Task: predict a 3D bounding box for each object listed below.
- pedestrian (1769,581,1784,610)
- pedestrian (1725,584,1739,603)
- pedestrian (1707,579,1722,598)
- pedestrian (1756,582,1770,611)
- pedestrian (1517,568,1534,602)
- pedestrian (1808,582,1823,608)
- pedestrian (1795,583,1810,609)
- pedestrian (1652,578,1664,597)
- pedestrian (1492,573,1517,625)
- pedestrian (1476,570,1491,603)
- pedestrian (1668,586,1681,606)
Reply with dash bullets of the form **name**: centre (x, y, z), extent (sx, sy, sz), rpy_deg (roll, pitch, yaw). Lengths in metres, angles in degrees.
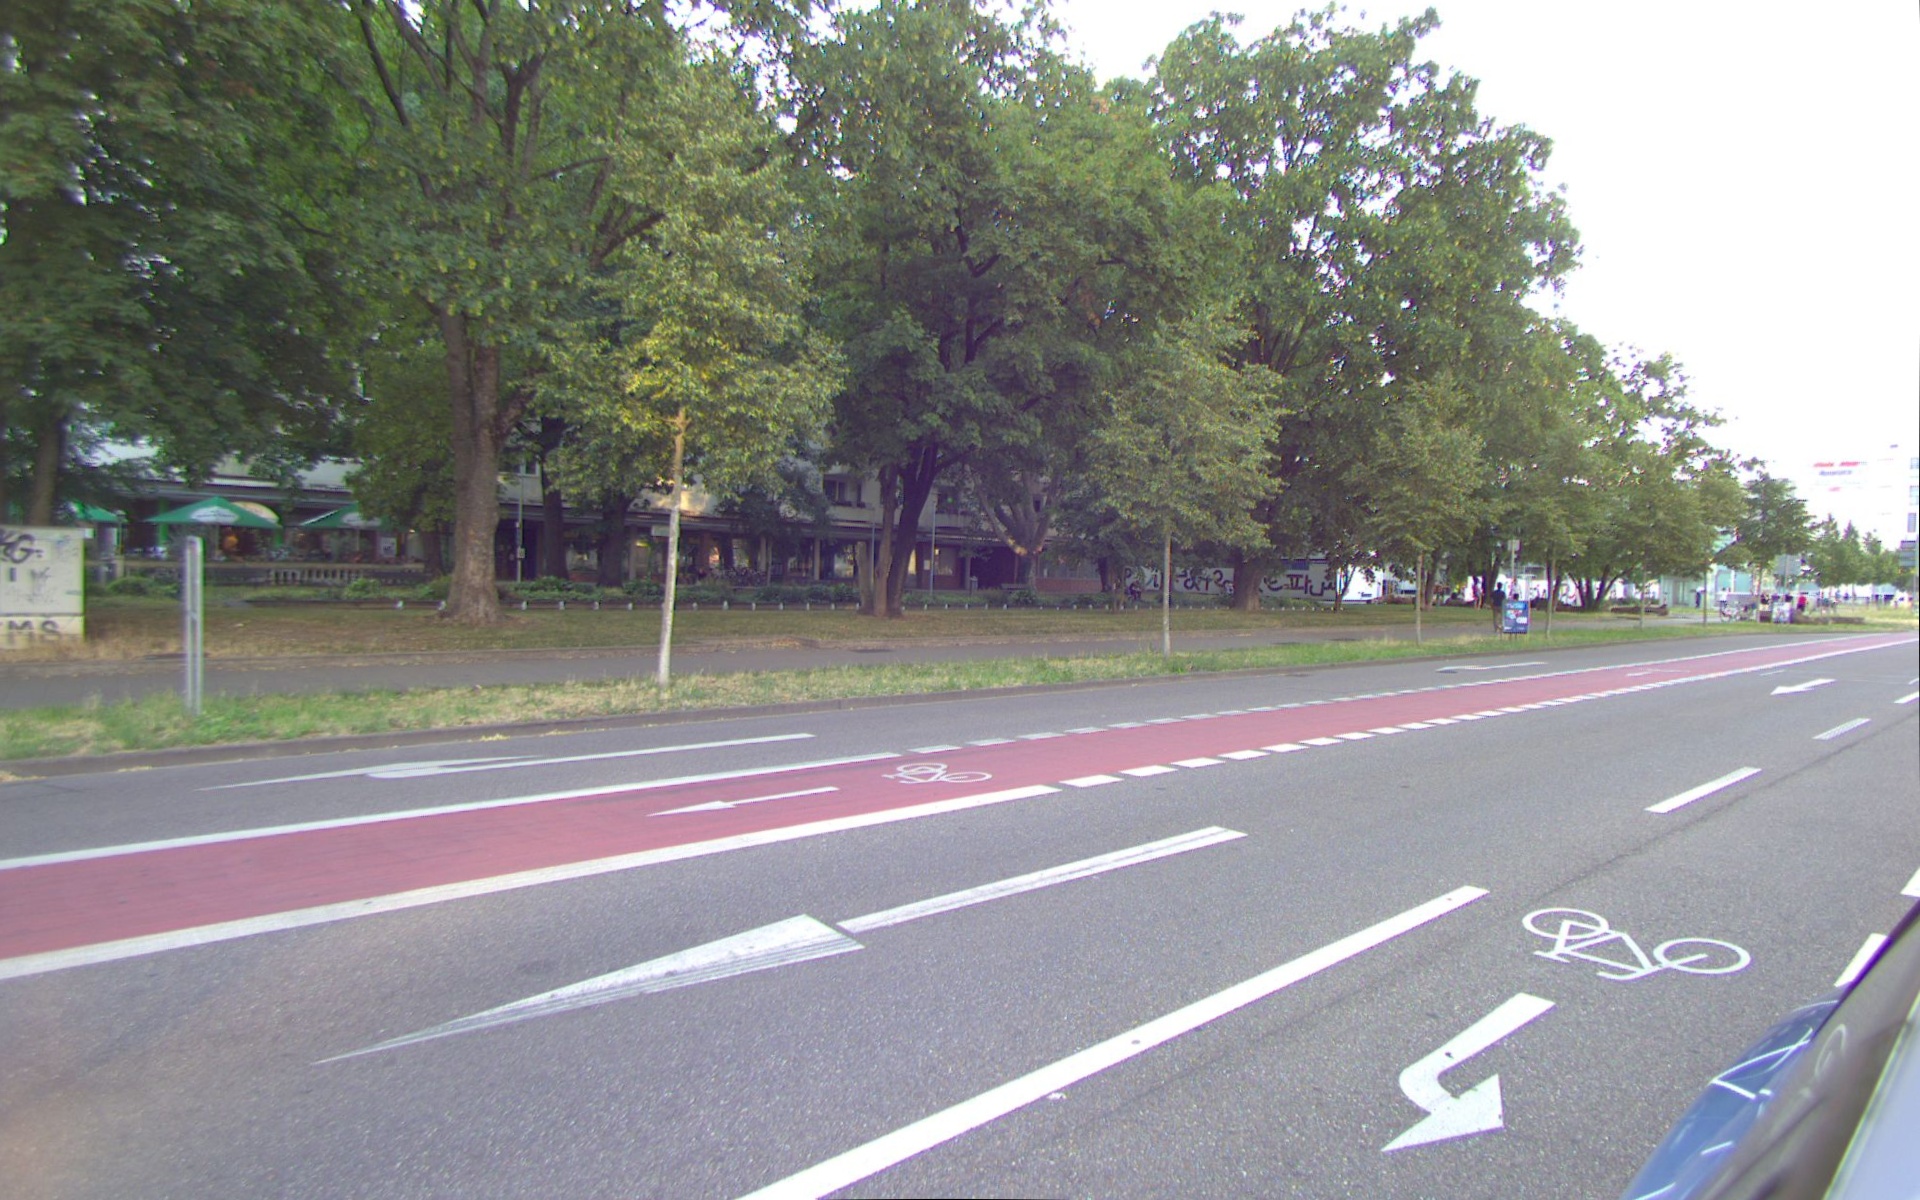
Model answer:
- **pedestrian**: centre (49.393, -0.268, 61.223), extent (0.707, 1.751, 0.508), rpy_deg (0, 2, -40)
- **pedestrian**: centre (55.211, -0.477, 72.366), extent (0.550, 1.371, 0.662), rpy_deg (0, 2, -40)
- **pedestrian**: centre (54.854, -0.822, 73.591), extent (0.604, 1.371, 0.728), rpy_deg (0, 2, -40)
- **pedestrian**: centre (50.742, -0.226, 63.946), extent (0.707, 1.751, 0.519), rpy_deg (0, 2, -40)
- **pedestrian**: centre (27.491, -0.723, 49.189), extent (0.513, 1.621, 0.500), rpy_deg (0, 2, -41)
- **pedestrian**: centre (59.148, -0.351, 69.950), extent (0.497, 1.779, 0.638), rpy_deg (0, 2, -40)
- **pedestrian**: centre (58.941, -0.299, 70.807), extent (0.497, 1.779, 0.638), rpy_deg (0, 2, -40)
- **pedestrian**: centre (49.487, -0.895, 71.747), extent (0.759, 1.371, 0.519), rpy_deg (0, 2, -41)
- **pedestrian**: centre (18.716, -0.035, 34.783), extent (0.546, 1.760, 0.558), rpy_deg (0, 2, -41)
- **pedestrian**: centre (26.156, -0.681, 50.569), extent (0.359, 1.621, 0.500), rpy_deg (1, 2, -40)
- **pedestrian**: centre (50.184, -0.302, 71.049), extent (0.759, 1.371, 0.519), rpy_deg (0, 2, -41)
